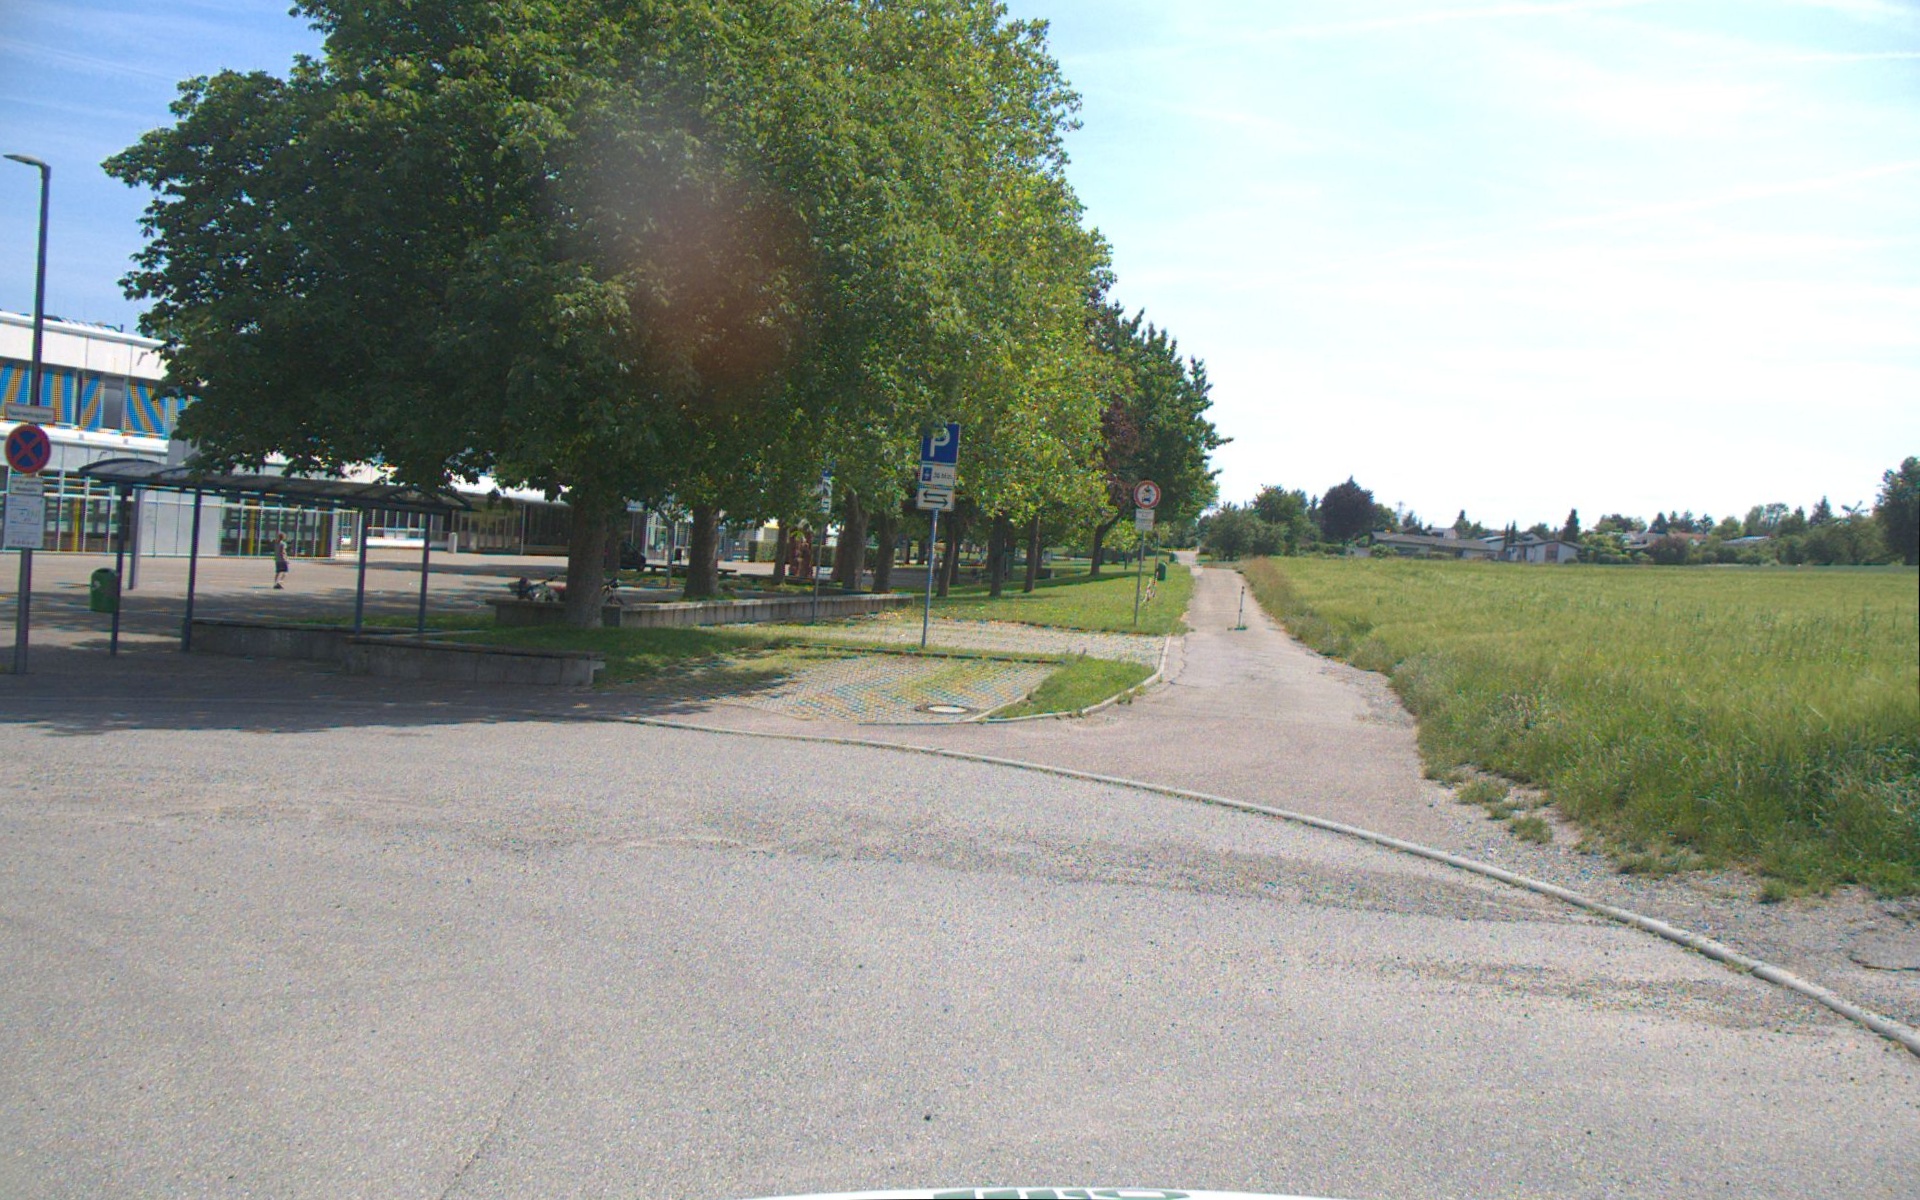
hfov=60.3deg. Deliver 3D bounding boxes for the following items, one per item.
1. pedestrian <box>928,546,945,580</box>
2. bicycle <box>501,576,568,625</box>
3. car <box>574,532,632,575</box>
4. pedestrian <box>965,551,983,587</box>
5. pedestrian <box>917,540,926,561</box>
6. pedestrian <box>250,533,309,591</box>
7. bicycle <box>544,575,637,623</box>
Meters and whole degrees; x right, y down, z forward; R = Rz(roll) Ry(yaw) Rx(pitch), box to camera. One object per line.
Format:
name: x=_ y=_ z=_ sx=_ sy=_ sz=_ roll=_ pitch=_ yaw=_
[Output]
pedestrian: x=-1.477 y=-2.319 z=104.049 sx=0.817 sy=2.048 sz=0.690 roll=3 pitch=1 yaw=-9
bicycle: x=-9.582 y=-0.005 z=37.315 sx=0.582 sy=1.057 sz=1.894 roll=2 pitch=1 yaw=14
car: x=-16.665 y=-2.159 z=77.348 sx=1.655 sy=1.866 sz=3.413 roll=3 pitch=1 yaw=5
pedestrian: x=0.808 y=-1.787 z=95.479 sx=0.674 sy=2.048 sz=0.797 roll=3 pitch=1 yaw=-26
pedestrian: x=-3.705 y=-4.815 z=160.204 sx=0.707 sy=2.049 sz=0.683 roll=0 pitch=1 yaw=10
pedestrian: x=-17.808 y=-0.997 z=43.286 sx=0.897 sy=1.448 sz=1.070 roll=4 pitch=1 yaw=17
bicycle: x=-8.758 y=-0.028 z=39.240 sx=2.020 sy=1.057 sz=0.572 roll=2 pitch=1 yaw=-1
